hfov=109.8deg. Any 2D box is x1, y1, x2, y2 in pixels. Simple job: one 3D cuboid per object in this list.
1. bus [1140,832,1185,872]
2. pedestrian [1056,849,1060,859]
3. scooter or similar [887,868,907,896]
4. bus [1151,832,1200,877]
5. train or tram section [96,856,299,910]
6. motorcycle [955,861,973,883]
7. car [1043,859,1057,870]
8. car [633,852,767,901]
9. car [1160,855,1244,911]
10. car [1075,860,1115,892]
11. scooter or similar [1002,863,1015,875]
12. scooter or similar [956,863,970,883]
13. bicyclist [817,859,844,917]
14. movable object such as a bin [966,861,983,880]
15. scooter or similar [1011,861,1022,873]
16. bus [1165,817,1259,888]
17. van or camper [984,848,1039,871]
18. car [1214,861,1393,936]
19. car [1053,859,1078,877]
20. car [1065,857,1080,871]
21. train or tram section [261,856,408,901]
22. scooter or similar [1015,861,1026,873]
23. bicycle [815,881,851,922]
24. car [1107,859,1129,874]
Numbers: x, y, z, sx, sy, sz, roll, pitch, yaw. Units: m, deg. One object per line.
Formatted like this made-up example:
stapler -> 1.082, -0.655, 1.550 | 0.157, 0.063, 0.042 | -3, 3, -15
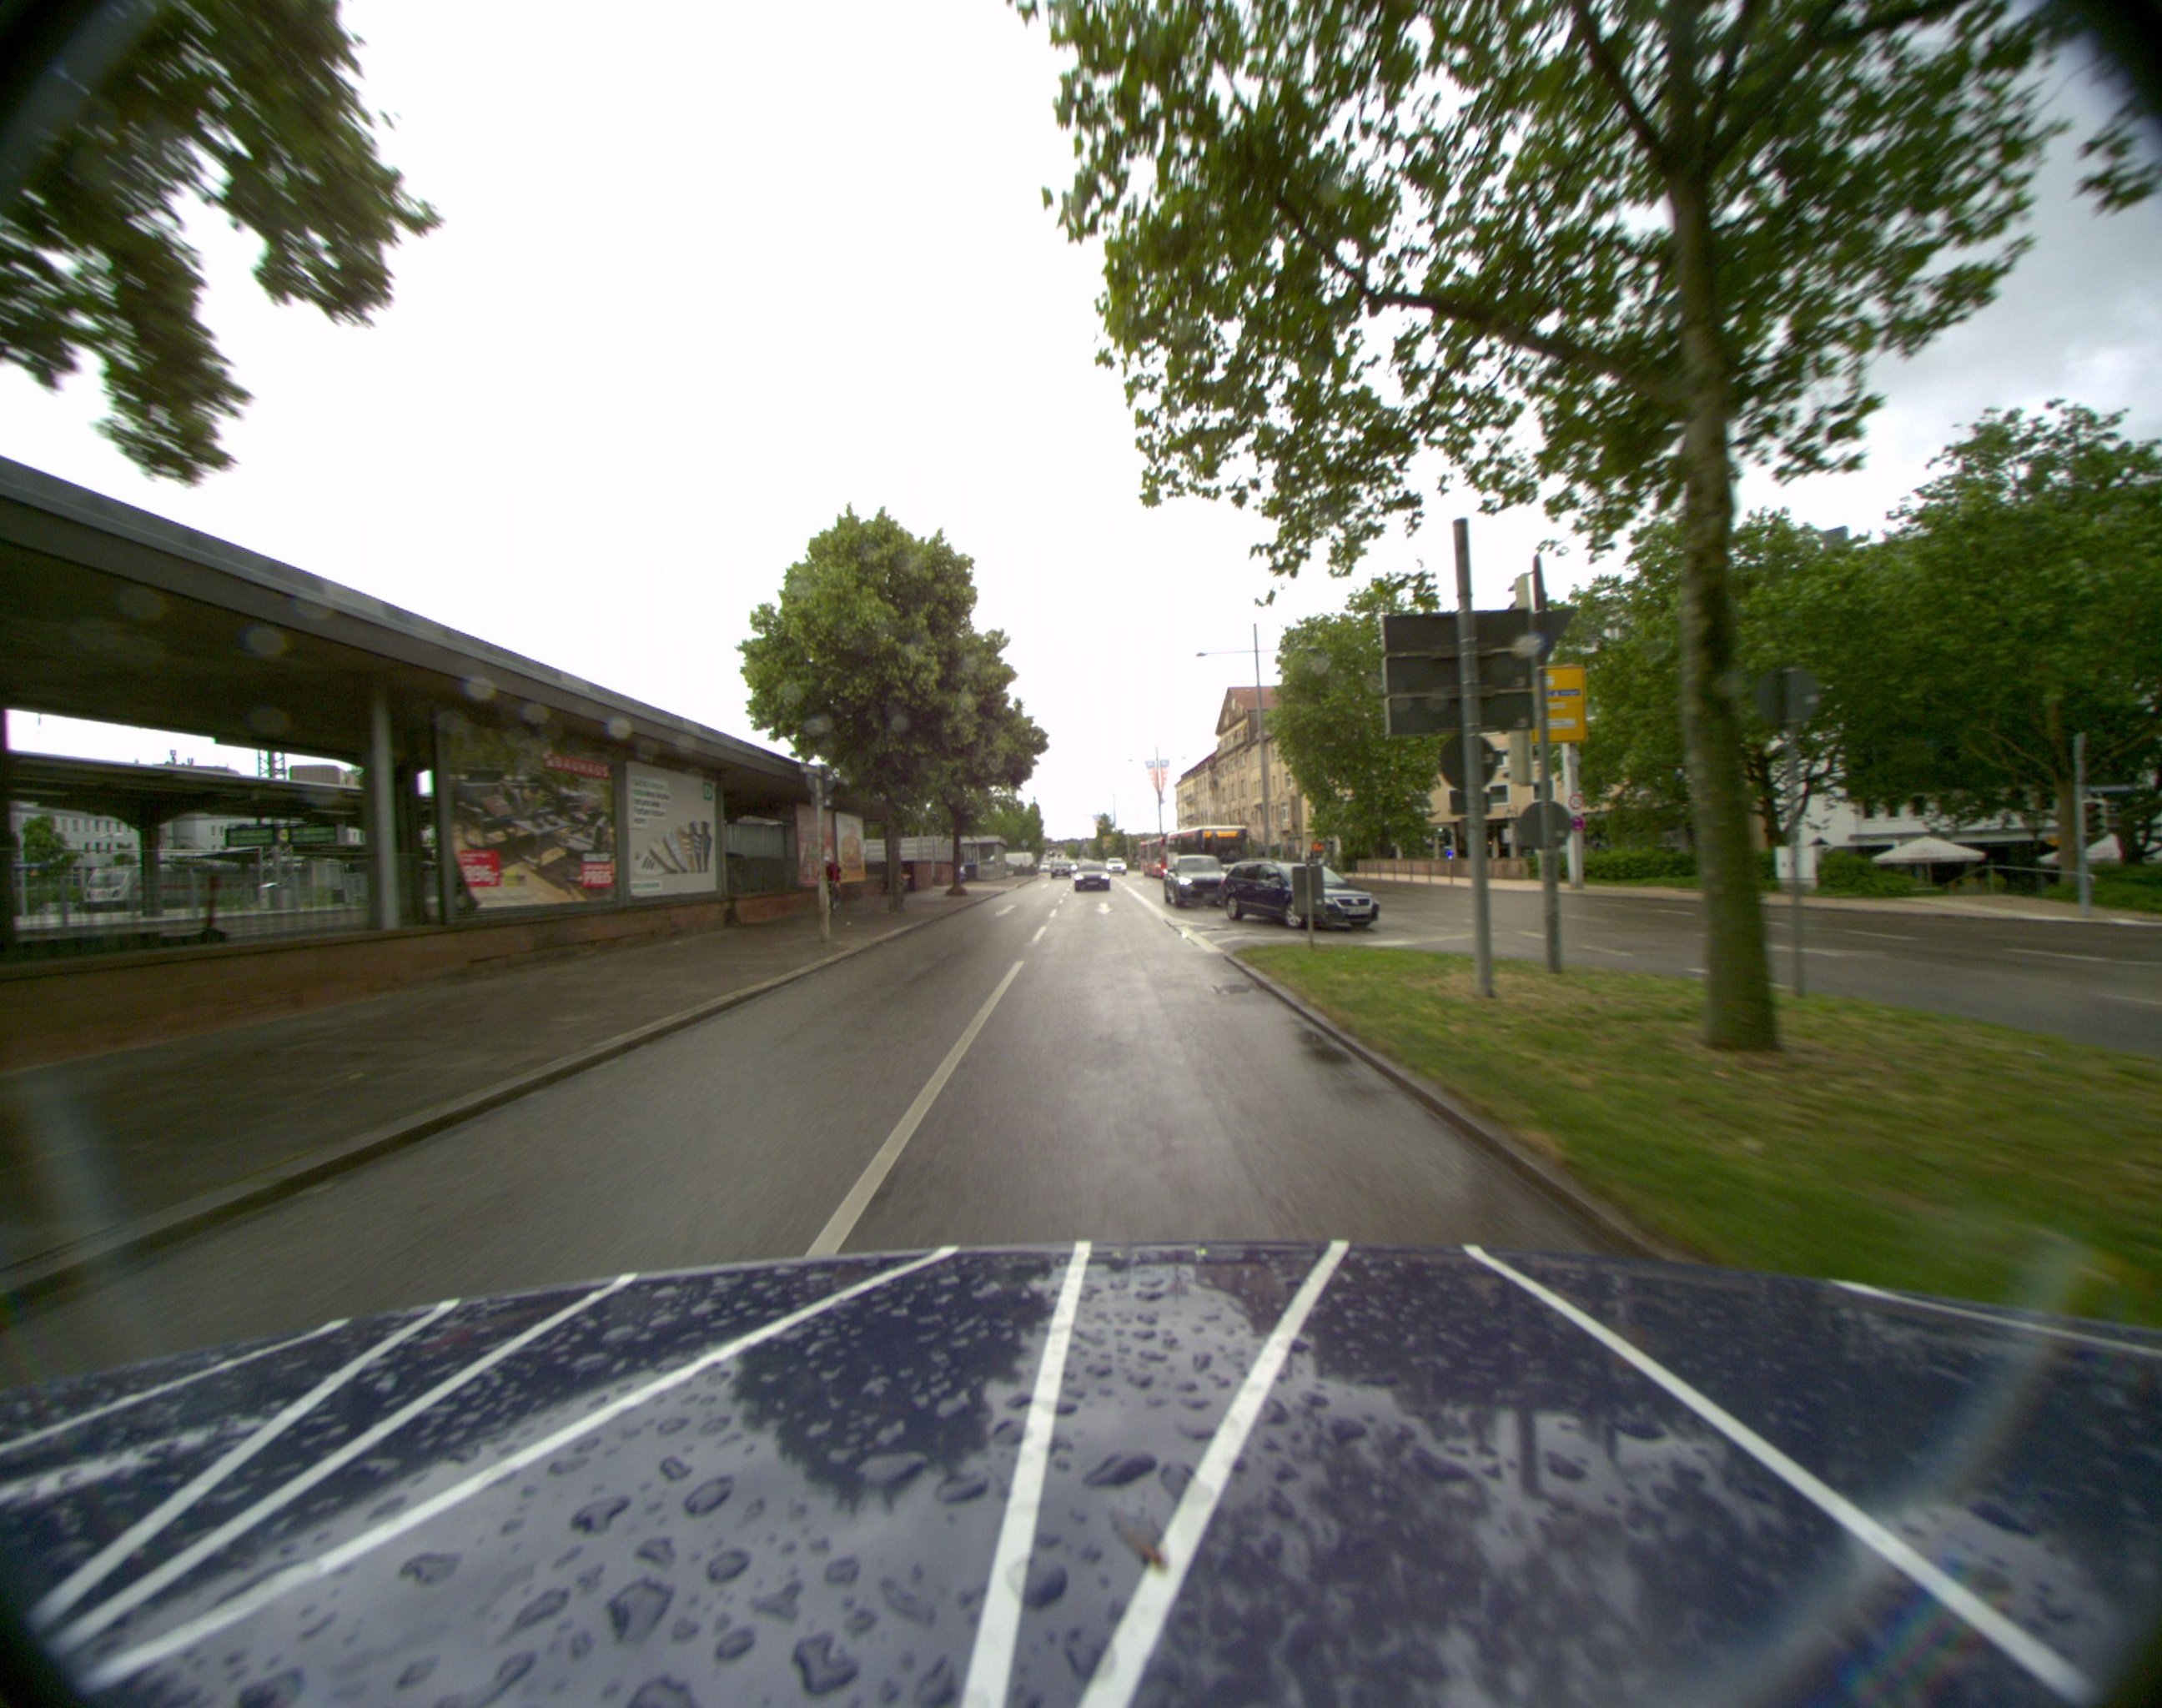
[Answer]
bus -> 6.987, -0.158, 66.305 | 2.817, 3.227, 9.912 | 0, 0, 0
pedestrian -> -3.956, 0.047, 131.434 | 0.560, 1.741, 0.700 | 0, 0, 5
scooter or similar -> -7.878, 1.177, 32.571 | 0.494, 1.146, 1.545 | -1, 0, -2
bus -> 6.950, 0.012, 57.051 | 2.759, 3.114, 8.843 | 0, 0, 1
train or tram section -> -65.827, 2.006, 57.246 | 2.747, 3.582, 10.927 | -1, 0, -3
motorcycle -> -7.342, 1.121, 47.629 | 0.794, 1.340, 2.457 | -1, 0, -2
car -> -4.402, 1.417, 107.198 | 1.661, 1.466, 3.589 | -1, 0, 2
car -> -12.610, 0.735, 25.288 | 3.565, 1.533, 1.747 | -1, 0, 5
car -> 3.857, 0.880, 24.966 | 1.969, 1.630, 4.358 | -1, 0, -1
car -> 0.734, 1.042, 37.689 | 1.871, 1.466, 3.827 | -1, 0, 2
scooter or similar -> -7.159, 1.461, 75.361 | 1.067, 1.148, 1.667 | -2, 1, 1
scooter or similar -> -7.087, 1.154, 45.440 | 0.495, 1.146, 1.712 | -2, 1, -19
bicyclist -> -6.769, 0.899, 20.560 | 0.535, 1.529, 0.694 | 0, 0, -2
movable object such as a bin -> -7.671, 1.171, 54.560 | 1.036, 1.330, 1.317 | -1, 0, -2
scooter or similar -> -6.450, 1.308, 75.828 | 0.413, 1.148, 1.265 | -4, 0, 32
bus -> 7.134, -0.031, 43.490 | 2.963, 3.419, 12.558 | -1, 0, -1
van or camper -> -8.705, 0.668, 95.671 | 6.541, 2.852, 2.275 | -1, 0, -30
car -> 4.838, 0.890, 17.255 | 1.822, 1.401, 4.408 | -1, 0, -16
car -> -1.274, 1.145, 64.331 | 1.871, 1.466, 3.827 | -1, 0, 2
car -> -0.952, 1.098, 83.816 | 1.619, 1.477, 3.669 | -1, 0, -1
train or tram section -> -66.336, 2.010, 68.072 | 2.747, 3.582, 10.927 | -1, 0, -3
scooter or similar -> -6.013, 1.261, 75.585 | 0.413, 1.148, 1.266 | 4, 1, 31
bicycle -> -6.706, 1.265, 20.612 | 0.447, 1.010, 1.677 | 1, 0, -2
car -> 3.549, 1.202, 73.738 | 1.983, 1.438, 3.908 | -1, 0, 1
